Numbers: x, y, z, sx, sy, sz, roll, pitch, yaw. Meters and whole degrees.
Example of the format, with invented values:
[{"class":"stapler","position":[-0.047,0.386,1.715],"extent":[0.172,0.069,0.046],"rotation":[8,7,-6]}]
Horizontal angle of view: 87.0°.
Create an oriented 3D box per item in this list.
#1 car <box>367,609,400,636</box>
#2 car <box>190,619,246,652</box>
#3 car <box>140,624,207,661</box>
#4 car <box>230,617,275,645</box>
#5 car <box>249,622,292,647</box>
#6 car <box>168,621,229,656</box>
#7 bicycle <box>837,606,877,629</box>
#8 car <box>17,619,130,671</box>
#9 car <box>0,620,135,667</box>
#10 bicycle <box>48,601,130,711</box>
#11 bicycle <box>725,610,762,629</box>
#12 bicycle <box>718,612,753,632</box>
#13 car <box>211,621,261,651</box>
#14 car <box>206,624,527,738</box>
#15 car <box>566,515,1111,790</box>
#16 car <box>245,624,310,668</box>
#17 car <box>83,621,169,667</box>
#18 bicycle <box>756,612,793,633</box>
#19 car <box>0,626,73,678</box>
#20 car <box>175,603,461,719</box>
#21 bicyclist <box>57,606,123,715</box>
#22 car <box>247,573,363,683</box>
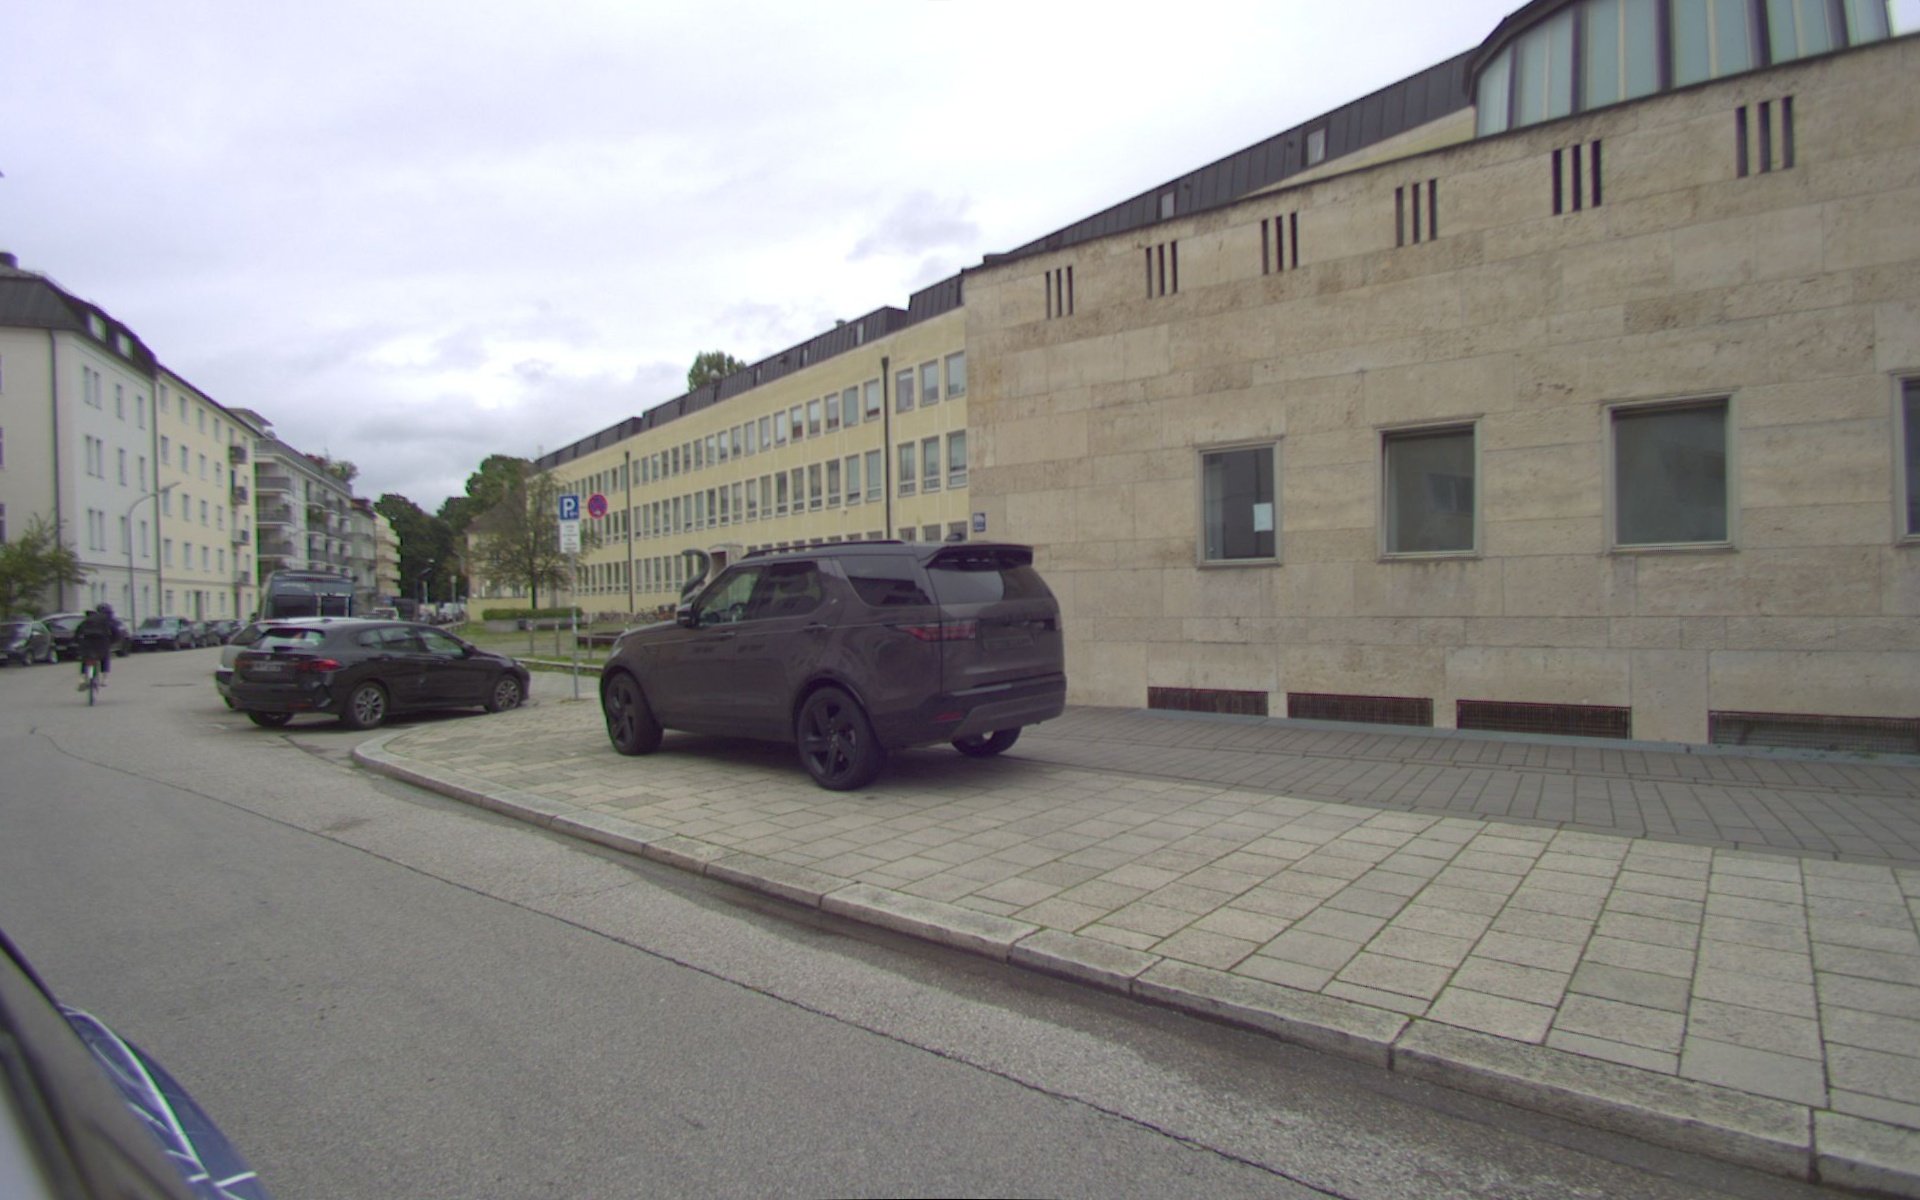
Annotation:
[{"class":"car","position":[-44.122,1.691,77.523],"extent":[1.917,1.991,4.370],"rotation":[0,0,-26]},{"class":"car","position":[-42.477,2.007,57.998],"extent":[1.753,1.603,3.714],"rotation":[-4,1,-24]},{"class":"car","position":[-39.236,2.083,50.572],"extent":[1.753,1.603,3.714],"rotation":[-4,1,-24]},{"class":"car","position":[-46.904,2.013,67.158],"extent":[1.753,1.603,3.714],"rotation":[-4,1,-24]},{"class":"car","position":[-48.631,2.399,71.410],"extent":[1.811,1.469,4.036],"rotation":[-4,1,-25]},{"class":"car","position":[-40.888,2.043,54.434],"extent":[1.753,1.603,3.714],"rotation":[-4,1,-24]},{"class":"bicycle","position":[-4.724,0.784,46.518],"extent":[1.877,0.923,0.438],"rotation":[-4,2,-40]},{"class":"car","position":[-34.167,1.703,39.162],"extent":[1.901,1.743,4.702],"rotation":[-4,0,-24]},{"class":"car","position":[-38.506,1.832,43.333],"extent":[4.848,1.785,1.888],"rotation":[-1,0,-41]},{"class":"bicycle","position":[-15.031,0.954,17.432],"extent":[3.116,1.735,0.786],"rotation":[-3,-3,45]},{"class":"bicycle","position":[-11.658,1.040,54.521],"extent":[1.877,0.923,0.438],"rotation":[-4,2,-40]},{"class":"bicycle","position":[-12.249,1.195,55.255],"extent":[1.877,0.923,0.438],"rotation":[-4,2,-40]},{"class":"car","position":[-44.452,2.203,62.221],"extent":[1.753,1.603,3.714],"rotation":[-4,1,-24]},{"class":"car","position":[-8.288,1.042,14.606],"extent":[1.732,1.384,3.990],"rotation":[0,-1,13]},{"class":"car","position":[-1.282,0.383,8.894],"extent":[4.811,1.785,1.973],"rotation":[-2,0,40]},{"class":"car","position":[-24.487,1.620,36.391],"extent":[1.643,1.471,2.877],"rotation":[1,-1,-28]},{"class":"car","position":[-36.860,1.896,44.871],"extent":[1.753,1.743,4.404],"rotation":[-4,1,-24]},{"class":"bicycle","position":[-9.639,1.152,52.516],"extent":[1.877,0.923,0.438],"rotation":[-4,2,-40]},{"class":"car","position":[-31.727,1.763,34.363],"extent":[1.486,1.568,2.872],"rotation":[-4,1,-22]},{"class":"car","position":[-10.674,0.942,17.197],"extent":[1.660,1.541,3.963],"rotation":[-3,1,16]},{"class":"bicyclist","position":[-14.535,0.991,16.907],"extent":[1.032,1.730,0.739],"rotation":[-3,-1,45]},{"class":"car","position":[-17.547,0.709,26.950],"extent":[2.116,2.593,6.224],"rotation":[0,-1,-37]}]
